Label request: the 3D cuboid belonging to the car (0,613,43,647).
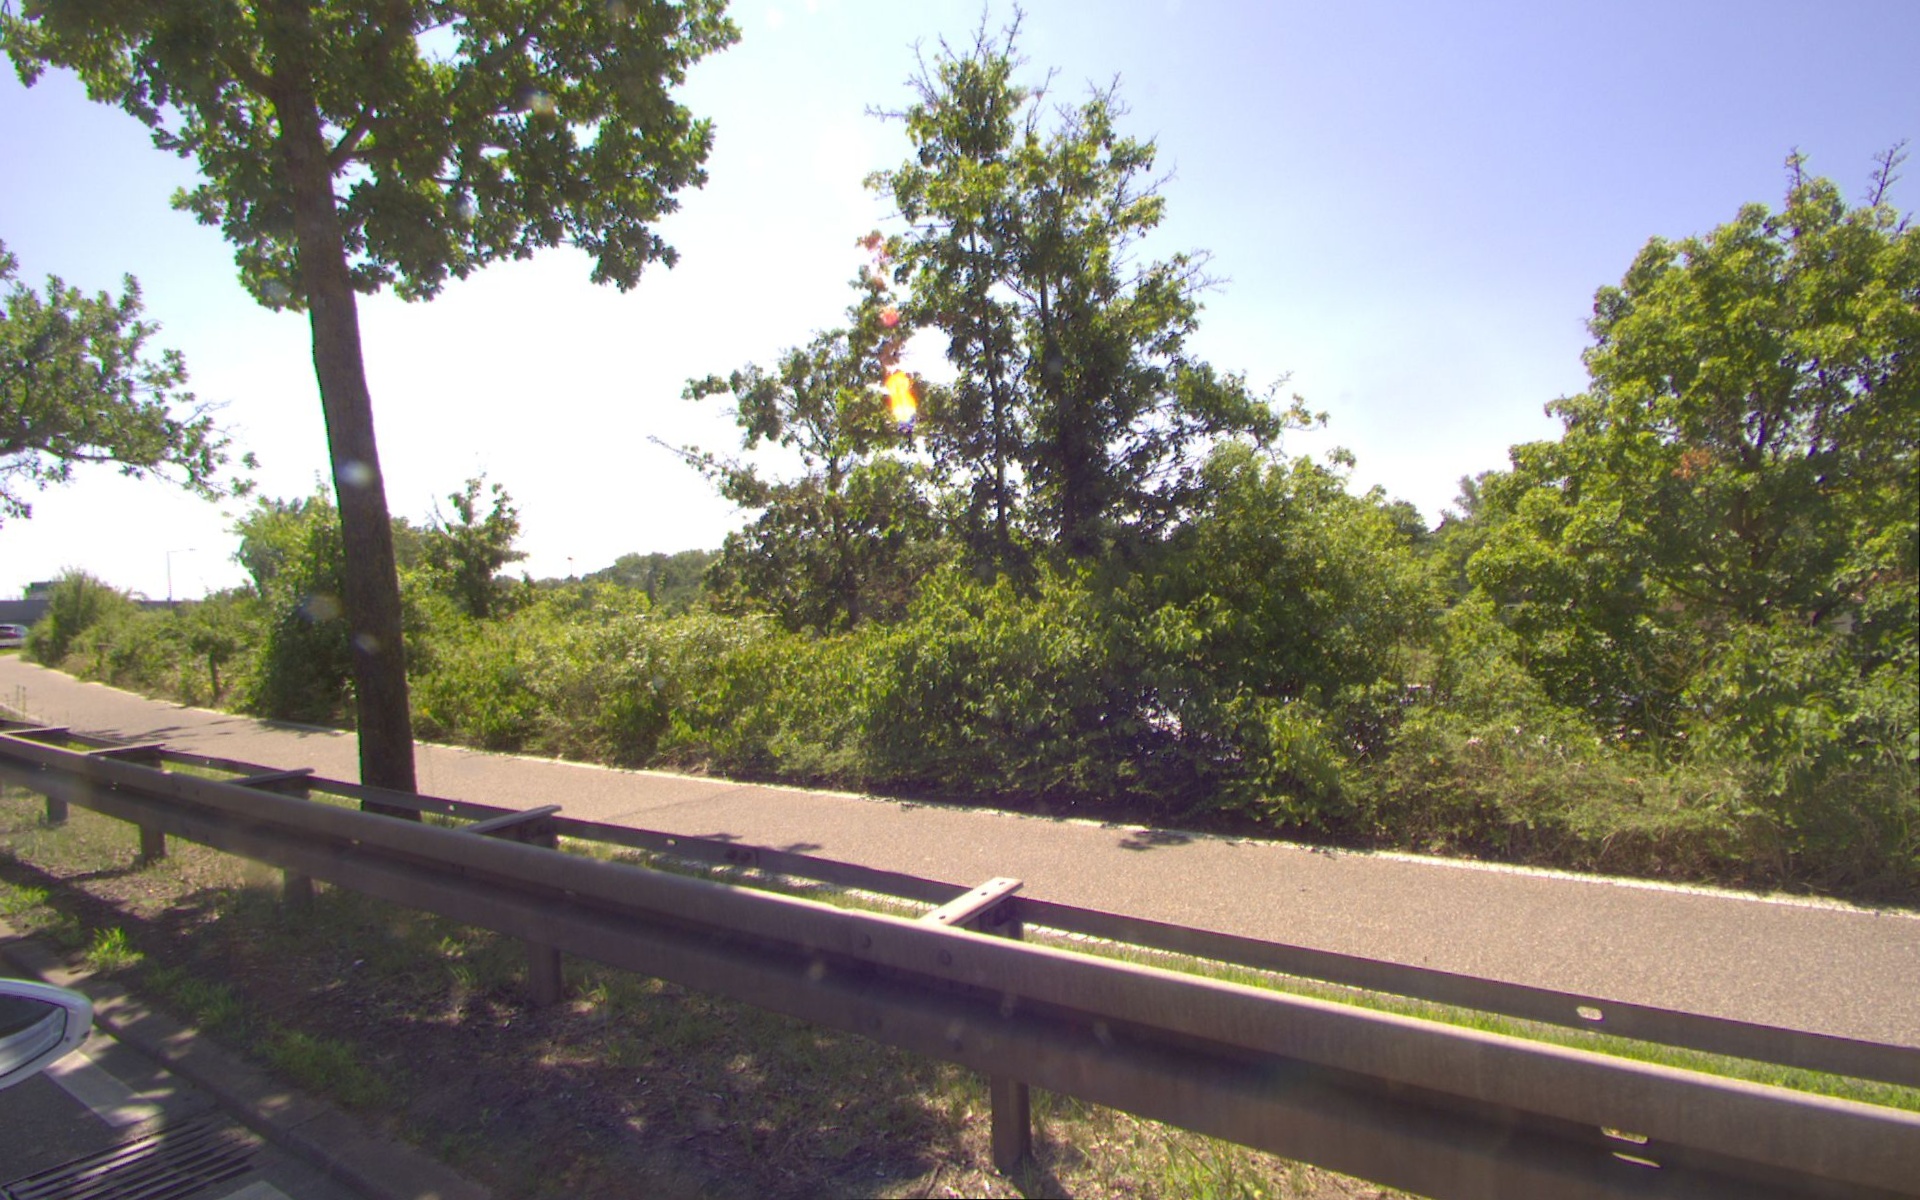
[{"bbox_3d":[-51.210,1.619,53.895,1.974,1.739,4.839,1,-2,-33],"label":"car"}]
